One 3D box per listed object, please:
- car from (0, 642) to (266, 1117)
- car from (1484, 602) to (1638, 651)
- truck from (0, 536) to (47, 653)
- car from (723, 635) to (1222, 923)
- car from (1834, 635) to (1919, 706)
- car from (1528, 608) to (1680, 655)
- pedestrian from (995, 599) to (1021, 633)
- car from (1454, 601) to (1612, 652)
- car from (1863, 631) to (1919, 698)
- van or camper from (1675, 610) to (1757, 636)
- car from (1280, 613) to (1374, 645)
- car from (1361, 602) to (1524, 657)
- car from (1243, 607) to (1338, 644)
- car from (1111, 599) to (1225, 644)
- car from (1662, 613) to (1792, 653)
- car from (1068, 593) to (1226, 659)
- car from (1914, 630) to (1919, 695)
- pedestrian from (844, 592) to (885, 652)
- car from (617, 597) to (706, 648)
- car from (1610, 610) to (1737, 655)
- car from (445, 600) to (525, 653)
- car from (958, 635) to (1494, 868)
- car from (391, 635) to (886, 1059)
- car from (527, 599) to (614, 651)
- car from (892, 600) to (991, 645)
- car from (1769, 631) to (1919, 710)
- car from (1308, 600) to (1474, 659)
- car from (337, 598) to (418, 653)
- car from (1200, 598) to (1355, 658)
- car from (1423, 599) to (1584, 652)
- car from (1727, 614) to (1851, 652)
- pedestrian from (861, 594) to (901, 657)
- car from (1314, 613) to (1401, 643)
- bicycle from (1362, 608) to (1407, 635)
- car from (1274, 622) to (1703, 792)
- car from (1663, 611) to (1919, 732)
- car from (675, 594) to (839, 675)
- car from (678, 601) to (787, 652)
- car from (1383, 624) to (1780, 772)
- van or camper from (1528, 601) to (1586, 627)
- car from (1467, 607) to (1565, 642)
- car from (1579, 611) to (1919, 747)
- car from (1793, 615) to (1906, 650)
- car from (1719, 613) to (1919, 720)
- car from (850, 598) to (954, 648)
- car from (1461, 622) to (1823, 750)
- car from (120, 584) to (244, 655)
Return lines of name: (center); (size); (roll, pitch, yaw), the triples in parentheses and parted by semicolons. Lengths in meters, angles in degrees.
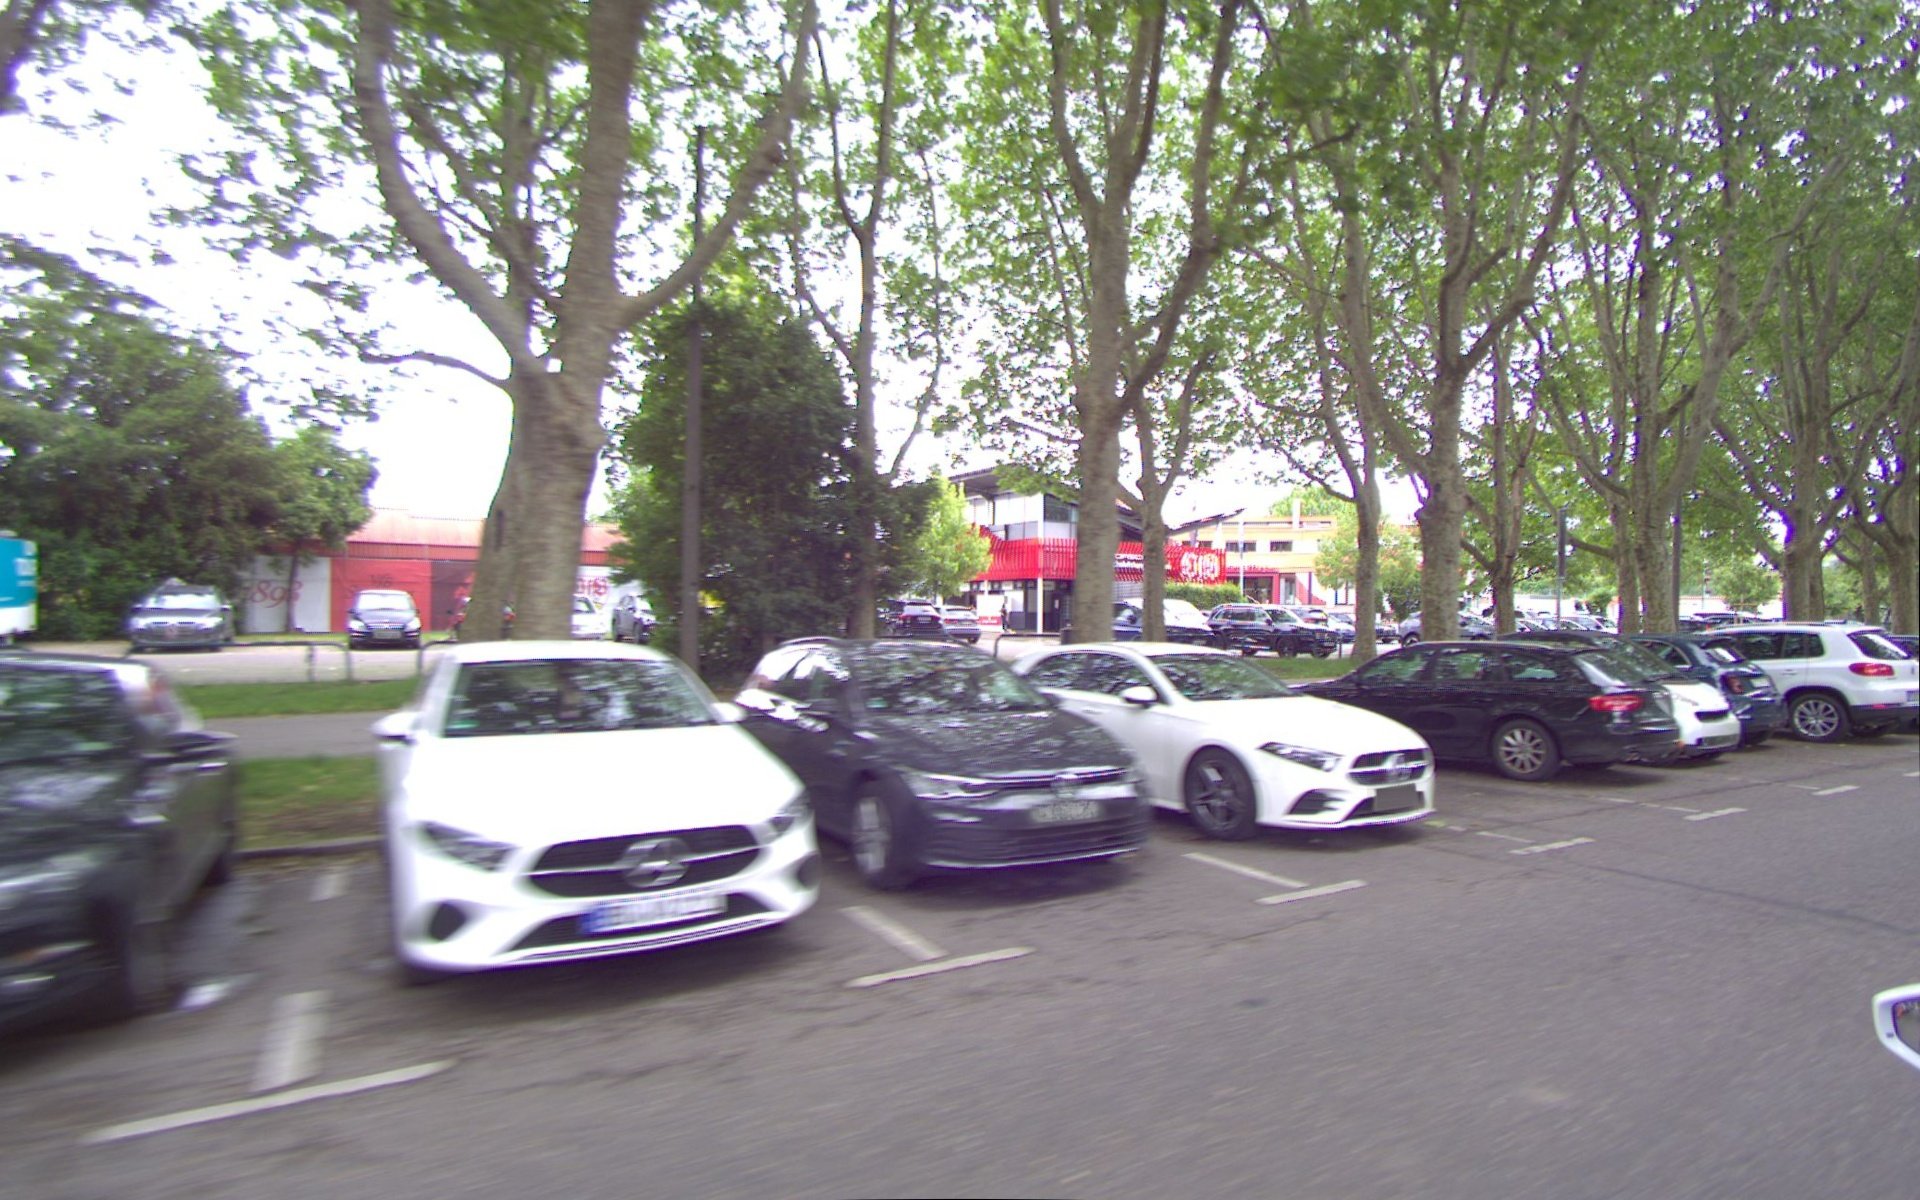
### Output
car: (-4.476, 0.927, 4.687); (1.704, 1.413, 4.386); (1, -2, -31)
car: (24.345, 1.047, 40.877); (2.159, 1.821, 4.913); (2, 0, -32)
truck: (-24.660, -0.179, 24.790); (2.350, 2.753, 3.966); (2, 0, -31)
car: (-0.277, 0.985, 7.438); (1.762, 1.436, 4.389); (1, -2, -29)
car: (20.527, 1.423, 20.323); (1.684, 1.439, 3.973); (1, -2, -31)
car: (26.846, 1.278, 42.050); (2.159, 1.821, 4.913); (1, 0, -32)
pedestrian: (2.375, 0.783, 49.487); (0.976, 1.679, 0.835); (1, 0, -31)
car: (22.333, 0.986, 39.348); (2.159, 1.821, 4.913); (2, 0, -32)
car: (22.748, 1.433, 22.082); (1.680, 1.505, 3.981); (0, -2, -25)
van or camper: (55.295, 1.674, 73.547); (2.107, 1.732, 4.298); (2, 0, -31)
car: (18.040, 1.403, 49.511); (1.978, 1.446, 3.965); (2, 0, -32)
car: (17.176, 1.007, 35.997); (2.159, 1.821, 4.913); (1, 0, -32)
car: (15.877, 1.213, 48.441); (1.979, 1.647, 3.962); (2, 0, -34)
car: (9.149, 0.927, 44.623); (2.159, 1.821, 4.913); (2, 0, -32)
car: (37.256, 1.559, 48.917); (2.270, 1.748, 4.528); (2, 0, -31)
car: (5.320, 0.788, 29.133); (1.978, 1.743, 4.528); (1, -2, -32)
car: (24.551, 1.450, 22.794); (1.709, 1.536, 3.910); (1, -2, -31)
pedestrian: (-2.968, 0.688, 31.127); (0.907, 1.824, 0.937); (1, 0, -30)
car: (-9.725, 0.688, 32.540); (1.915, 1.530, 3.968); (1, 0, -30)
car: (32.780, 1.471, 46.269); (2.005, 1.885, 4.298); (2, 0, -31)
car: (-14.200, 0.736, 29.921); (1.878, 1.415, 3.968); (0, 1, -30)
car: (1.969, 1.047, 8.810); (2.024, 1.463, 4.385); (1, -2, -31)
car: (-2.205, 0.933, 5.815); (1.756, 1.443, 4.385); (1, -2, -31)
car: (-12.158, 0.733, 31.197); (1.967, 1.468, 3.968); (0, 0, -30)
car: (-0.777, 0.852, 38.972); (1.980, 1.571, 3.993); (2, 0, -34)
car: (18.425, 1.375, 19.414); (1.823, 1.387, 3.965); (2, 0, -31)
car: (14.773, 0.964, 34.690); (2.159, 1.821, 4.913); (2, 0, -32)
car: (-16.706, 0.685, 28.865); (1.878, 1.415, 3.968); (0, 0, -30)
car: (9.979, 0.922, 31.920); (1.978, 1.743, 4.528); (1, -2, -32)
car: (20.394, 0.927, 37.896); (2.159, 1.821, 4.913); (2, 0, -32)
car: (43.176, 1.685, 52.407); (2.270, 1.785, 4.495); (2, 0, -31)
pedestrian: (-2.366, 0.761, 30.182); (0.907, 1.824, 0.813); (1, 0, -30)
car: (19.969, 1.391, 50.583); (1.490, 1.390, 3.965); (2, 0, -32)
bicycle: (25.992, 1.302, 61.502); (2.769, 1.560, 1.044); (2, 0, -31)
car: (5.835, 1.054, 11.536); (1.837, 1.472, 3.960); (2, 0, -35)
car: (14.164, 1.083, 16.415); (1.833, 1.704, 3.969); (2, 0, -29)
car: (-4.888, 0.723, 23.479); (2.071, 1.617, 5.320); (2, 0, -31)
car: (-7.786, 0.847, 33.994); (2.158, 1.541, 4.915); (2, 0, -31)
car: (7.761, 1.112, 12.953); (1.833, 1.472, 3.969); (2, 0, -29)
van or camper: (50.298, 1.155, 84.594); (5.243, 2.040, 1.983); (2, 0, -32)
car: (32.471, 1.401, 58.828); (2.265, 1.880, 4.564); (2, 0, -25)
car: (12.020, 1.078, 15.338); (1.833, 1.704, 3.969); (2, 0, -29)
car: (49.618, 1.790, 56.086); (2.107, 1.732, 4.298); (2, 0, -31)
car: (16.180, 1.143, 17.793); (1.833, 1.704, 3.969); (2, 0, -29)
car: (-2.150, 0.796, 36.226); (1.980, 1.648, 3.961); (2, 0, -34)
car: (9.704, 1.128, 14.632); (1.833, 1.472, 3.969); (2, 0, -29)
car: (-20.156, 0.474, 26.199); (1.967, 1.684, 3.968); (2, 0, -30)
